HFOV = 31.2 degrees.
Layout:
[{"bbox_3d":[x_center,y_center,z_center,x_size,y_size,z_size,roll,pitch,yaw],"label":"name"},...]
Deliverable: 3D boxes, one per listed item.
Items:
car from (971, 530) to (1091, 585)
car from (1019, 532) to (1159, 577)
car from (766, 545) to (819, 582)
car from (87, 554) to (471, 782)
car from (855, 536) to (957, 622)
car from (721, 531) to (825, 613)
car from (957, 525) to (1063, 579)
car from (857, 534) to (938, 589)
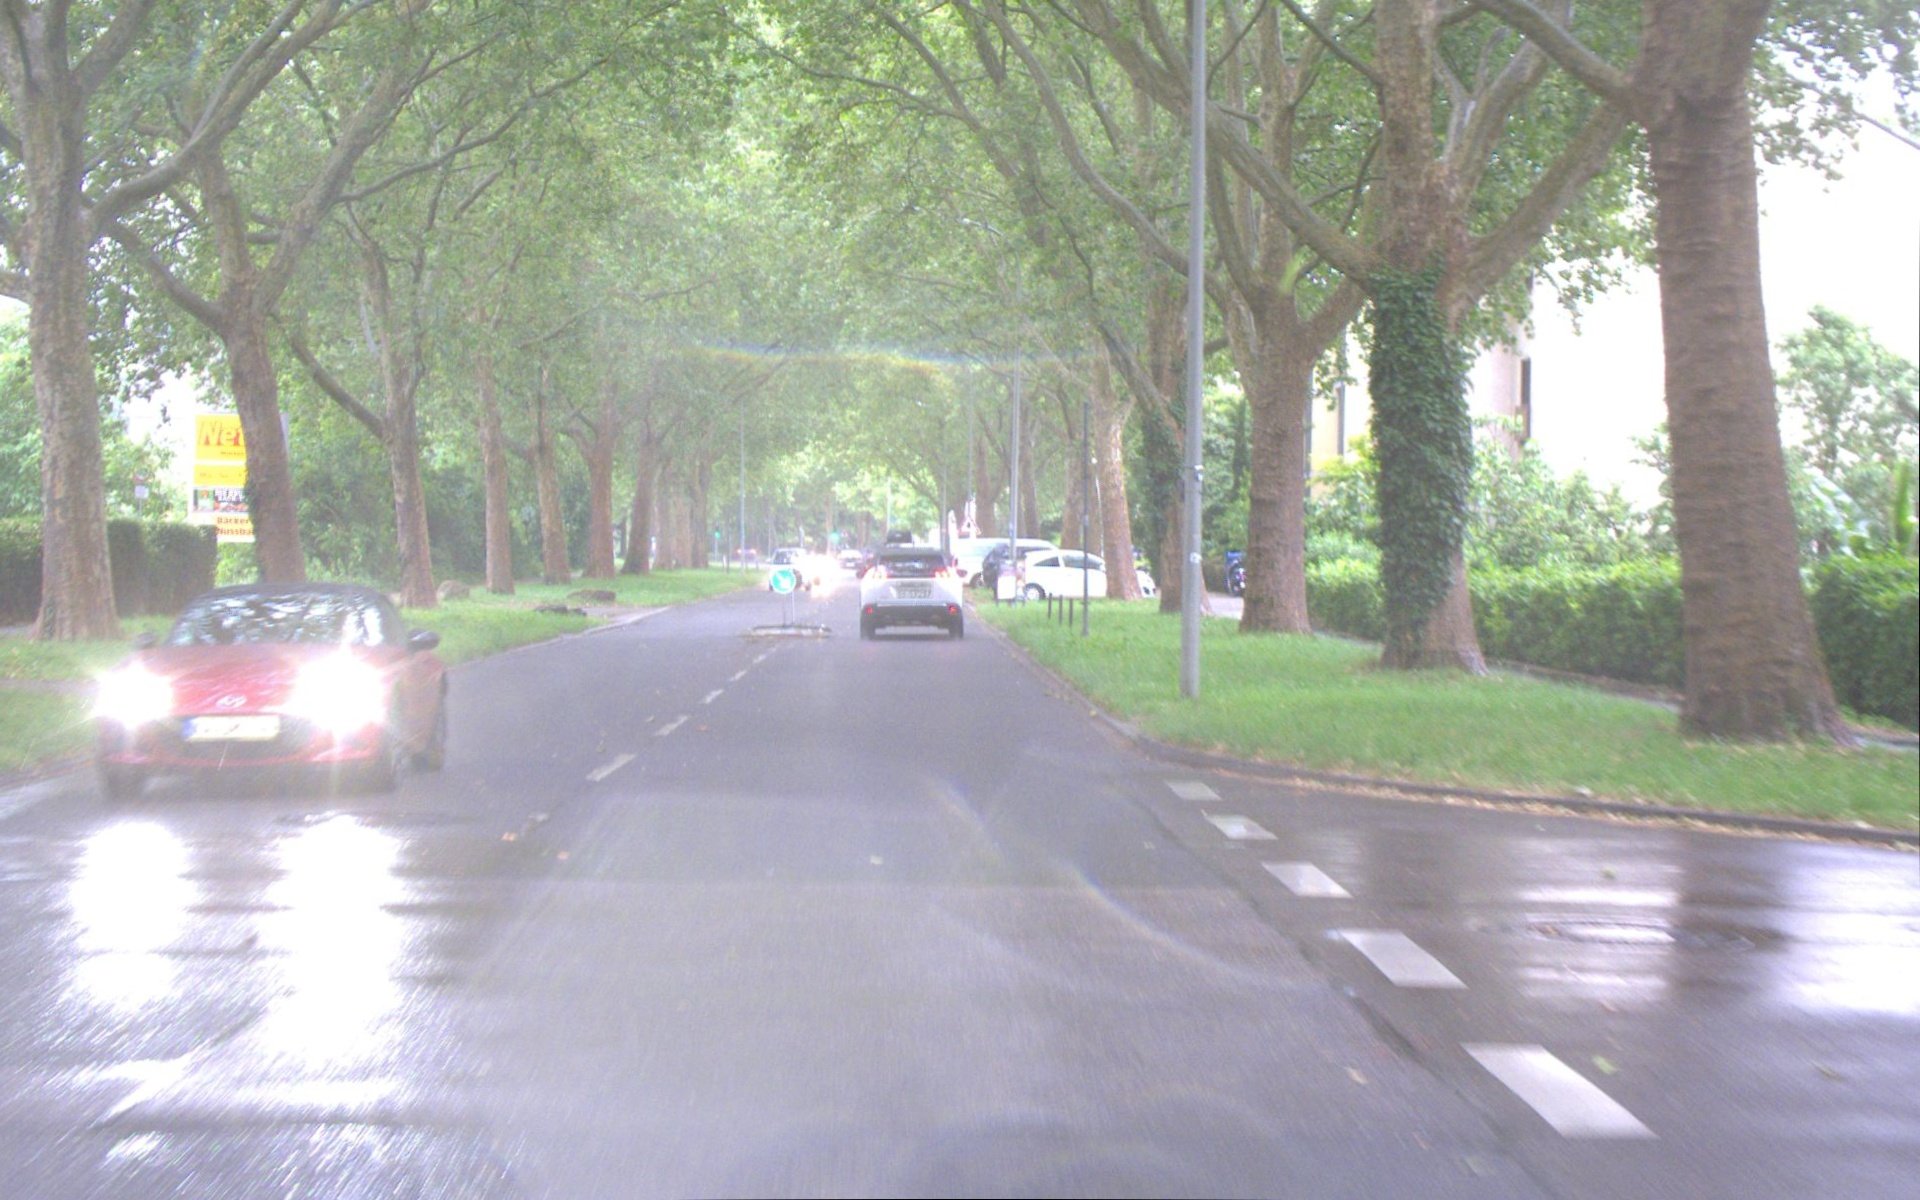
[{"bbox_3d":[2.157,-1.310,104.557,3.546,1.640,1.712,0,1,-2],"label":"car"},{"bbox_3d":[3.401,-1.217,90.901,3.546,1.151,1.712,0,1,-3],"label":"car"},{"bbox_3d":[-6.067,-1.341,124.975,1.720,1.250,4.000,2,1,0],"label":"car"},{"bbox_3d":[-4.130,0.361,21.360,1.706,1.246,3.645,0,1,-1],"label":"car"},{"bbox_3d":[-0.938,-0.387,59.409,1.706,1.406,3.645,0,1,-1],"label":"car"},{"bbox_3d":[-3.306,-0.523,61.277,1.706,1.406,3.645,0,1,-1],"label":"car"},{"bbox_3d":[1.709,-1.666,118.822,3.546,1.835,1.712,0,1,-2],"label":"car"},{"bbox_3d":[-1.578,-0.995,88.073,1.993,1.313,4.000,1,1,-1],"label":"car"}]
